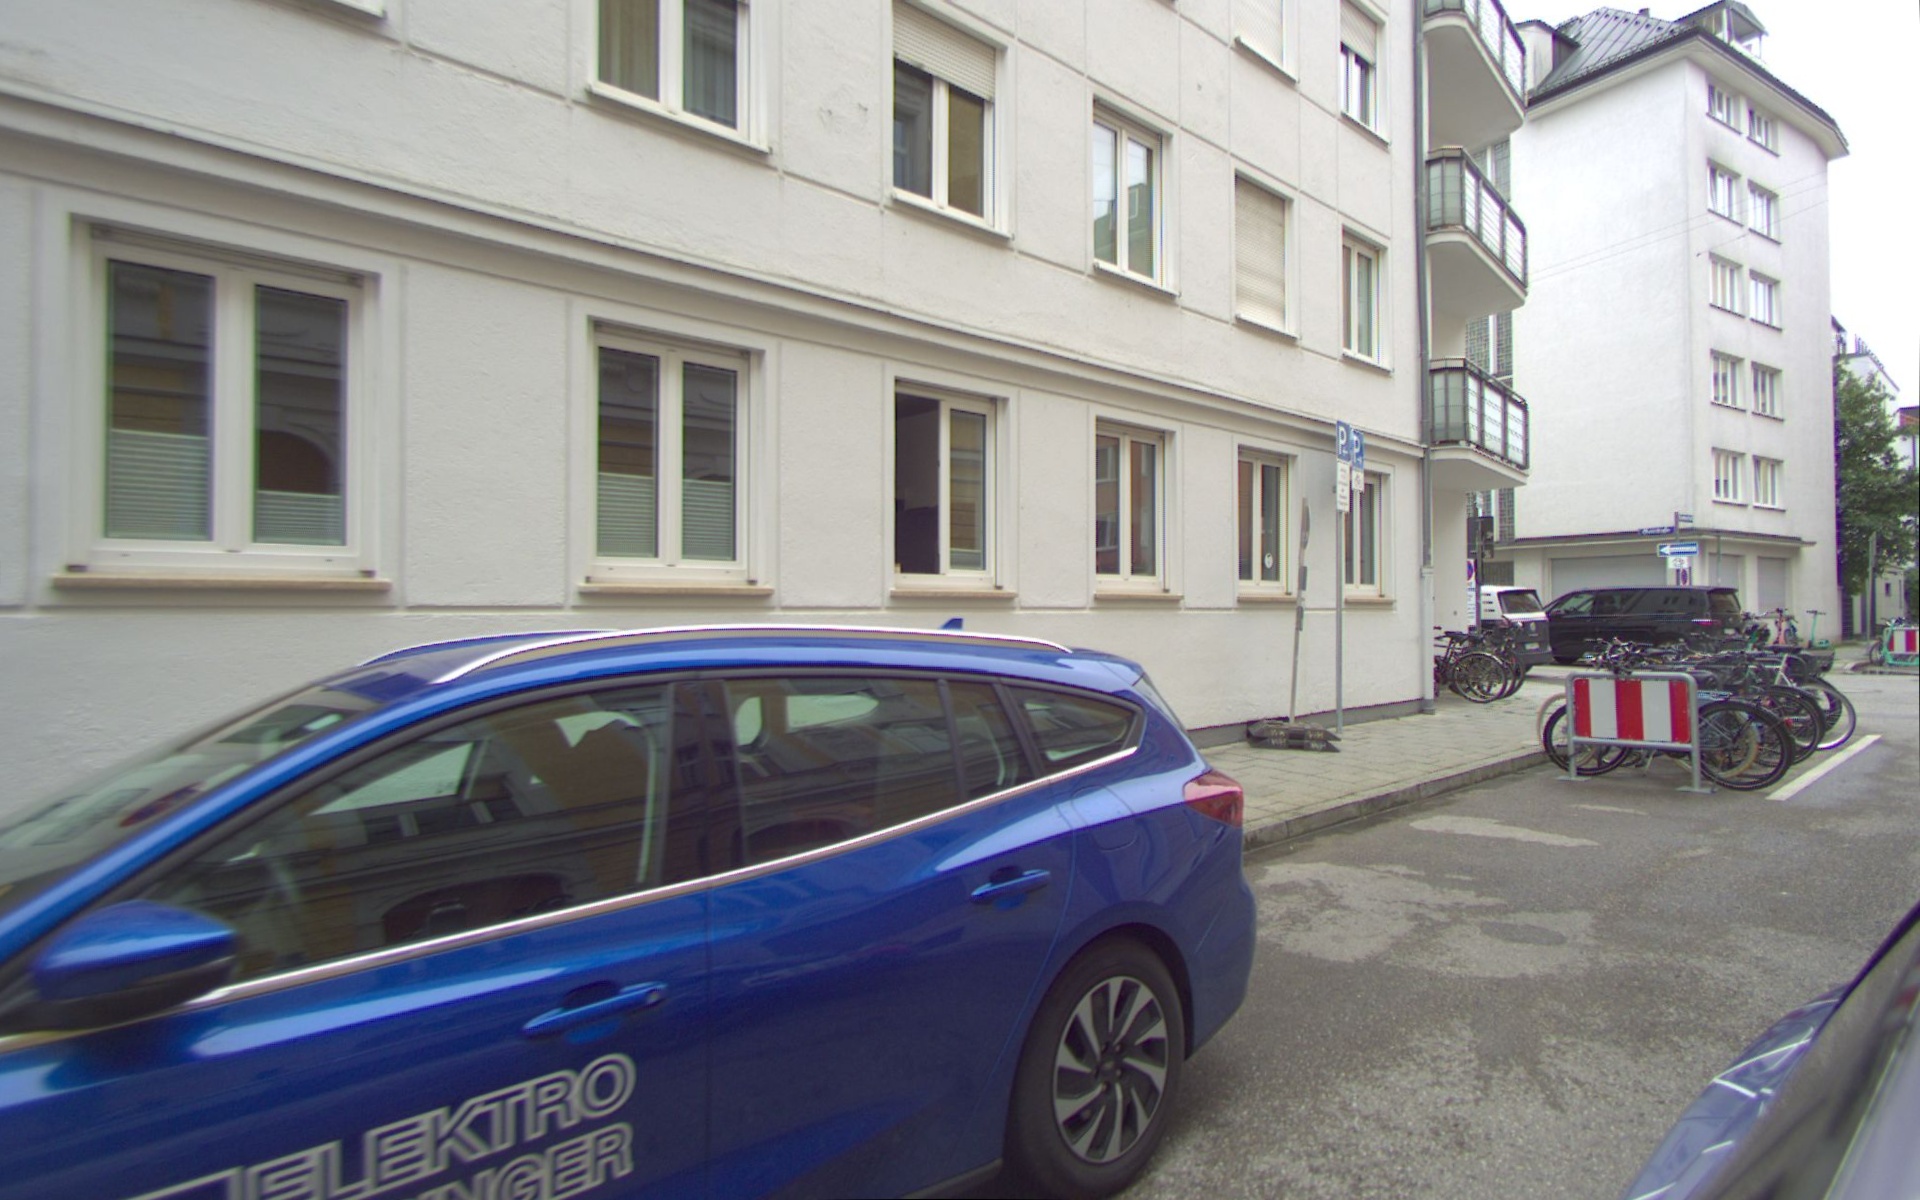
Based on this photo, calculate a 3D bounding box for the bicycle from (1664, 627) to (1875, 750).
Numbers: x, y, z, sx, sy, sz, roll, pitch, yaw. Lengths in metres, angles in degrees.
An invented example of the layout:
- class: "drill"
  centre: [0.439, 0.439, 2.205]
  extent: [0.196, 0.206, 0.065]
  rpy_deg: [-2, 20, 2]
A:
- class: "bicycle"
  centre: [8.530, 0.892, 10.732]
  extent: [0.372, 1.176, 1.697]
  rpy_deg: [1, -1, -41]

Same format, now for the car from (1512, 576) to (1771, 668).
- class: "car"
  centre: [15.757, 0.470, 23.676]
  extent: [1.896, 1.915, 4.685]
  rpy_deg: [1, -1, -33]

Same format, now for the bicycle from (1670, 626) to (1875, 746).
- class: "bicycle"
  centre: [8.798, 0.891, 11.023]
  extent: [0.372, 1.176, 1.697]
  rpy_deg: [1, -1, -41]

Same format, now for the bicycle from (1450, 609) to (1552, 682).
- class: "bicycle"
  centre: [9.900, 0.809, 18.569]
  extent: [0.463, 1.229, 1.611]
  rpy_deg: [0, 1, -32]

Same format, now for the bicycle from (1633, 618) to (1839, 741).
- class: "bicycle"
  centre: [8.054, 0.785, 10.573]
  extent: [0.372, 1.176, 1.664]
  rpy_deg: [1, -1, -41]

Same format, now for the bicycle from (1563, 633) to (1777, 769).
- class: "bicycle"
  centre: [6.457, 0.876, 9.290]
  extent: [0.316, 1.056, 1.594]
  rpy_deg: [0, 1, -32]

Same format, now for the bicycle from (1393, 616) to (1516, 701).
- class: "bicycle"
  centre: [6.832, 0.787, 14.019]
  extent: [1.489, 1.056, 0.395]
  rpy_deg: [2, 1, 31]

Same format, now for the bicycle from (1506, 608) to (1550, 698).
- class: "bicycle"
  centre: [8.398, 0.753, 14.983]
  extent: [0.395, 1.219, 1.494]
  rpy_deg: [1, 1, 24]

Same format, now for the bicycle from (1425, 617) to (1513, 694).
- class: "bicycle"
  centre: [7.545, 0.799, 15.005]
  extent: [1.119, 1.056, 0.395]
  rpy_deg: [2, 1, 31]

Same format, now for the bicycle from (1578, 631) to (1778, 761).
- class: "bicycle"
  centre: [6.825, 0.872, 9.693]
  extent: [0.353, 1.056, 1.523]
  rpy_deg: [0, 1, -33]

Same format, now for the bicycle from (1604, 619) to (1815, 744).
- class: "bicycle"
  centre: [7.657, 0.792, 10.414]
  extent: [0.372, 1.176, 1.697]
  rpy_deg: [1, -1, -41]

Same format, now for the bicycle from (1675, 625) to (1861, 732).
- class: "bicycle"
  centre: [9.608, 0.897, 12.099]
  extent: [0.308, 1.176, 1.697]
  rpy_deg: [1, -1, -41]

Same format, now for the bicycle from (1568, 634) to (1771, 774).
- class: "bicycle"
  centre: [6.247, 0.877, 8.988]
  extent: [0.323, 1.056, 1.441]
  rpy_deg: [0, 1, -32]

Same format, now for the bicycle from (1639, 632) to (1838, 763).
- class: "bicycle"
  centre: [7.338, 0.880, 9.602]
  extent: [0.353, 1.056, 1.444]
  rpy_deg: [0, 1, -32]

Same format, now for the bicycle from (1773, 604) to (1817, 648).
- class: "bicycle"
  centre: [23.951, 0.730, 29.023]
  extent: [1.578, 1.229, 0.529]
  rpy_deg: [0, -1, -33]

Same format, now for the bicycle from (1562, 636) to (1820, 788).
- class: "bicycle"
  centre: [6.065, 0.881, 8.495]
  extent: [0.353, 1.056, 1.706]
  rpy_deg: [0, 2, -40]

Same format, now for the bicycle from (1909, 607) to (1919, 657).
- class: "bicycle"
  centre: [24.374, 0.793, 24.760]
  extent: [0.519, 1.229, 1.608]
  rpy_deg: [0, -1, -38]

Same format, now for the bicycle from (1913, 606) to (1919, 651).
- class: "bicycle"
  centre: [26.827, 0.774, 27.262]
  extent: [0.519, 1.229, 1.608]
  rpy_deg: [0, -1, -38]

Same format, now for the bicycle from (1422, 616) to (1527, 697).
- class: "bicycle"
  centre: [7.297, 0.787, 14.375]
  extent: [1.285, 1.056, 0.395]
  rpy_deg: [2, 1, 31]

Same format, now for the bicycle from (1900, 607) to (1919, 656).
- class: "bicycle"
  centre: [24.643, 0.790, 25.311]
  extent: [0.519, 1.229, 1.608]
  rpy_deg: [0, -1, -38]

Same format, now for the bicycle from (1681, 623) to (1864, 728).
- class: "bicycle"
  centre: [9.845, 0.876, 12.321]
  extent: [0.308, 1.176, 1.697]
  rpy_deg: [1, -1, -41]

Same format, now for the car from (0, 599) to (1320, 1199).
- class: "car"
  centre: [-1.129, 0.759, 2.417]
  extent: [4.305, 1.457, 1.797]
  rpy_deg: [0, -2, -40]

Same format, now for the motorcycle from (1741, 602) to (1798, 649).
- class: "motorcycle"
  centre: [22.281, 0.679, 27.853]
  extent: [1.898, 1.248, 0.661]
  rpy_deg: [0, -1, -34]

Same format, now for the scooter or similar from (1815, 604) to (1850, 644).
- class: "scooter or similar"
  centre: [26.475, 0.705, 30.691]
  extent: [1.465, 1.181, 0.407]
  rpy_deg: [0, -1, -34]

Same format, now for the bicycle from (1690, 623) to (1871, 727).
- class: "bicycle"
  centre: [10.150, 0.893, 12.578]
  extent: [0.411, 1.176, 1.697]
  rpy_deg: [1, -1, -41]

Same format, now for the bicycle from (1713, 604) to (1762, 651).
- class: "bicycle"
  centre: [20.680, 0.717, 26.914]
  extent: [1.578, 1.229, 0.529]
  rpy_deg: [0, -1, -33]

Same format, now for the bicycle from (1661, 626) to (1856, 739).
- class: "bicycle"
  centre: [9.076, 0.895, 11.564]
  extent: [0.372, 1.176, 1.697]
  rpy_deg: [1, -1, -41]

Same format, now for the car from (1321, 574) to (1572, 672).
- class: "car"
  centre: [10.386, 0.443, 21.986]
  extent: [1.896, 1.896, 4.623]
  rpy_deg: [0, 0, -33]

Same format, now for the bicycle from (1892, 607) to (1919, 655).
- class: "bicycle"
  centre: [24.925, 0.787, 25.833]
  extent: [0.519, 1.229, 1.608]
  rpy_deg: [0, -1, -38]

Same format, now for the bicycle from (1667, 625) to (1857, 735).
- class: "bicycle"
  centre: [9.343, 0.892, 11.853]
  extent: [0.372, 1.176, 1.697]
  rpy_deg: [1, -1, -41]
